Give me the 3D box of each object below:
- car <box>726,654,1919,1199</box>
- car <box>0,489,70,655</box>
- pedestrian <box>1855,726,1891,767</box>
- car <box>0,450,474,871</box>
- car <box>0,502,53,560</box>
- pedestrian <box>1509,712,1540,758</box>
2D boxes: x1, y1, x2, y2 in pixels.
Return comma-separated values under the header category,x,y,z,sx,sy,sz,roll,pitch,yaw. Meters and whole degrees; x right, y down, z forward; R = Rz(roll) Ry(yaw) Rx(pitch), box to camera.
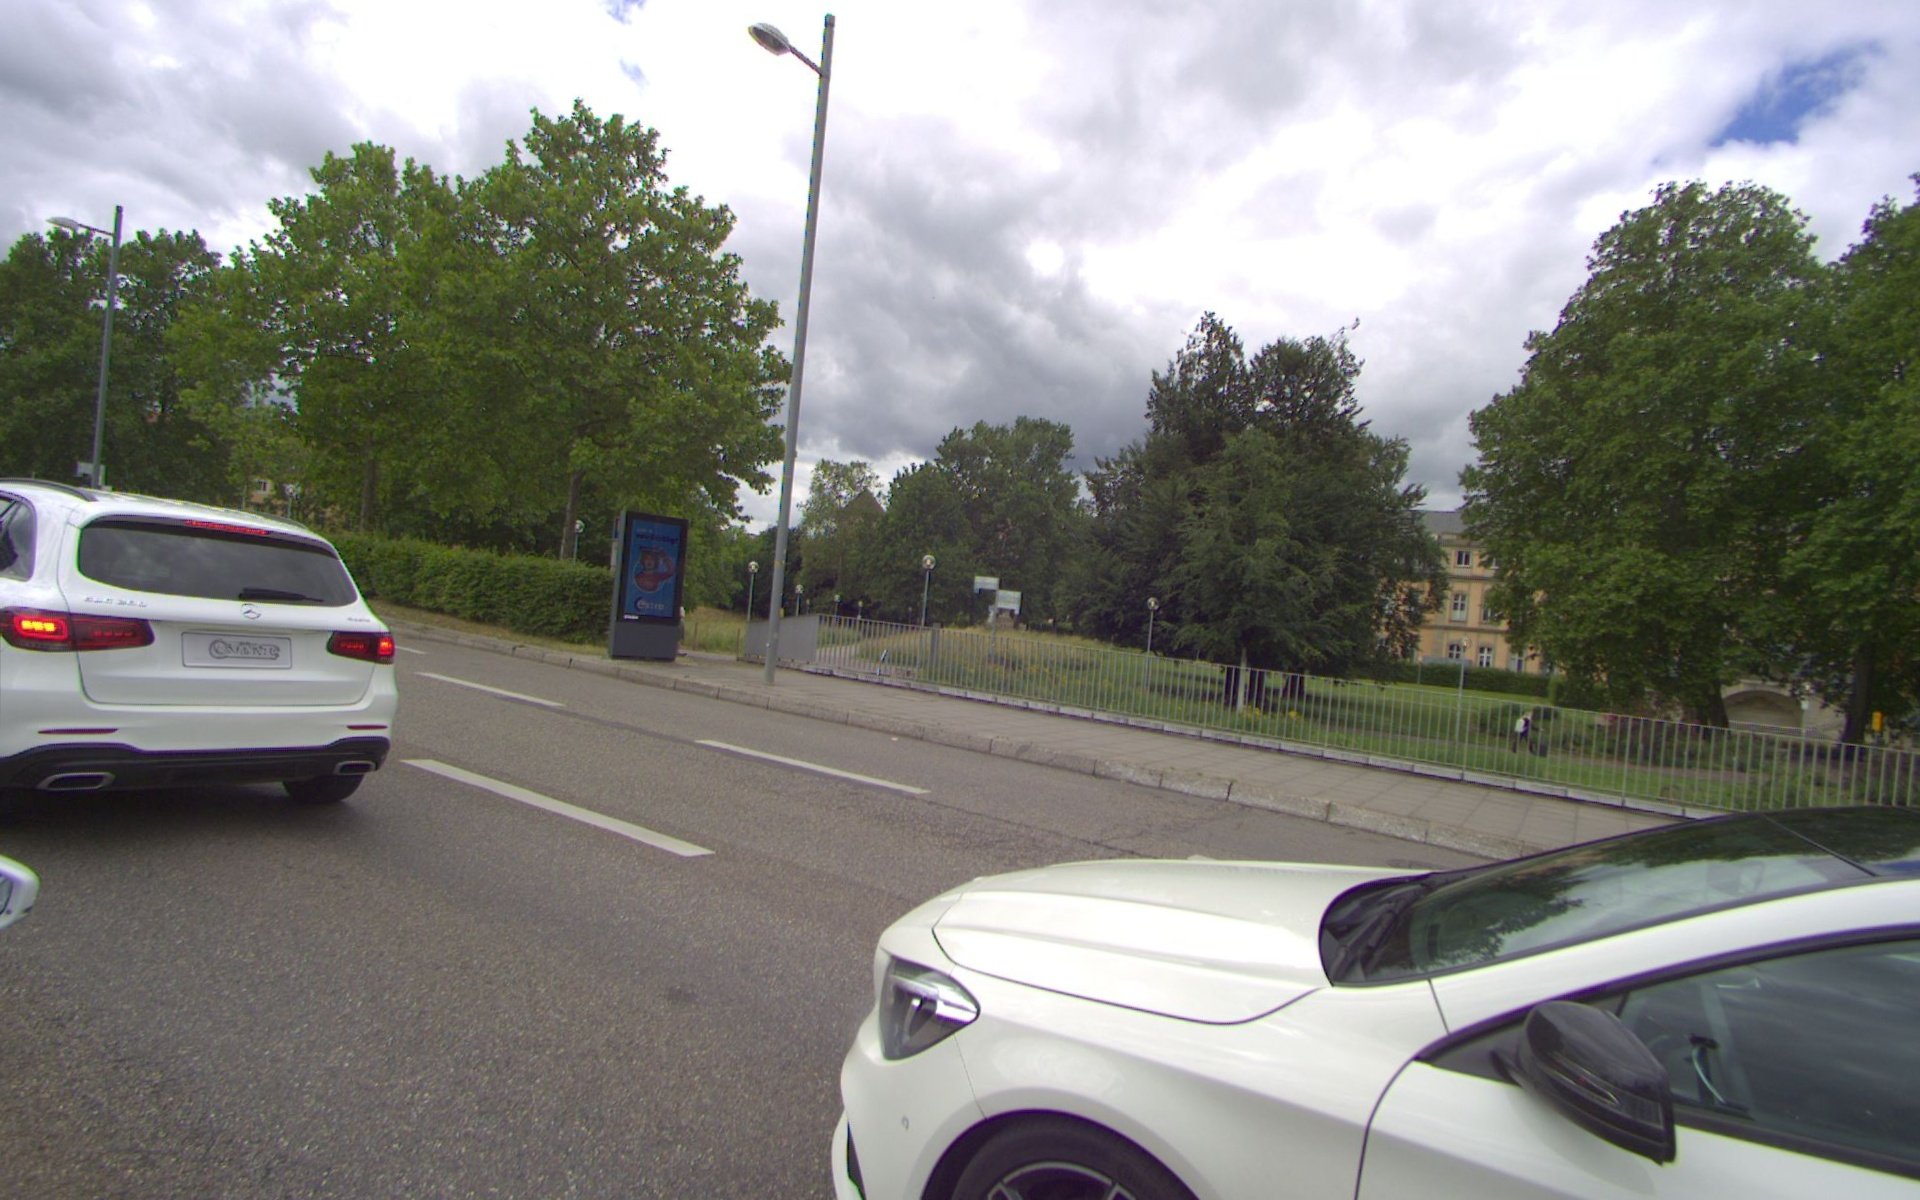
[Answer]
category,x,y,z,sx,sy,sz,roll,pitch,yaw
car,1.850,1.090,1.830,4.454,1.436,1.796,5,-2,33
car,-11.302,-0.500,10.408,4.417,1.569,1.929,6,-2,33
pedestrian,49.765,7.980,54.819,0.932,2.036,1.099,8,-2,-28
car,-5.130,0.117,5.955,4.416,1.673,1.929,7,-1,33
car,-29.216,-2.177,30.265,4.459,1.476,1.933,5,-3,37
pedestrian,21.012,5.017,37.442,0.645,1.619,0.684,6,-2,0
